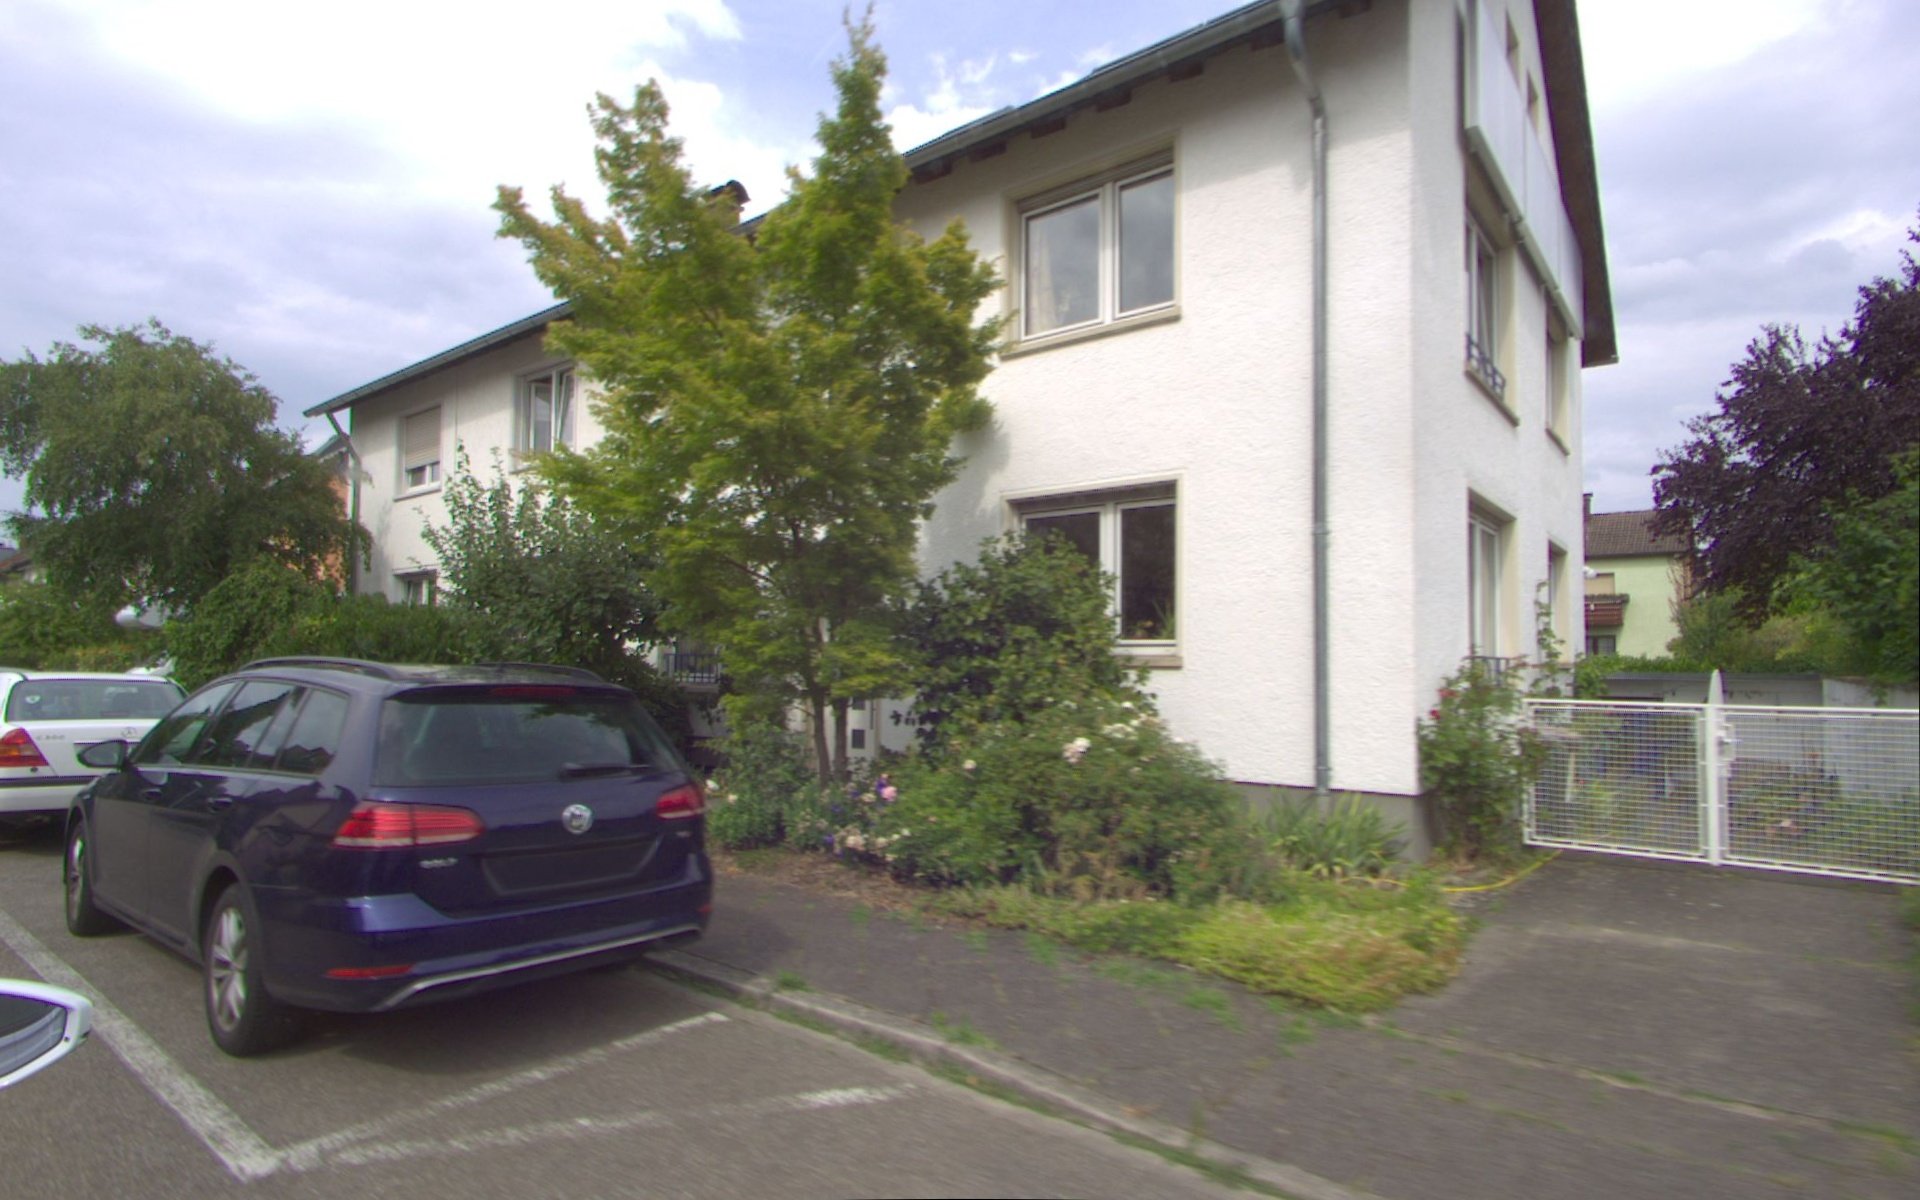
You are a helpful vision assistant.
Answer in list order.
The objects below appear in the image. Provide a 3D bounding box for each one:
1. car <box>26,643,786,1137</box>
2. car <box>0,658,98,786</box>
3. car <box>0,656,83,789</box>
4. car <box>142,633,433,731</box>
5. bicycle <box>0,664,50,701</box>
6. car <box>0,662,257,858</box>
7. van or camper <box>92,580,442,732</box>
[{"bbox_3d":[-3.201,0.979,5.247,4.794,1.457,1.861,-2,-4,40],"label":"car"},{"bbox_3d":[-12.711,1.467,12.774,4.167,1.459,1.699,-2,-5,37],"label":"car"},{"bbox_3d":[-12.722,1.475,12.721,4.168,1.489,1.735,-2,-4,40],"label":"car"},{"bbox_3d":[-13.363,1.607,20.140,1.878,1.729,4.512,-2,-4,41],"label":"car"},{"bbox_3d":[-26.965,2.331,28.509,0.372,1.035,1.530,-1,-3,44],"label":"bicycle"},{"bbox_3d":[-8.375,1.296,9.351,4.641,1.381,1.688,-2,-4,38],"label":"car"},{"bbox_3d":[-14.829,1.200,21.836,2.505,2.853,5.781,-1,-3,37],"label":"van or camper"}]
